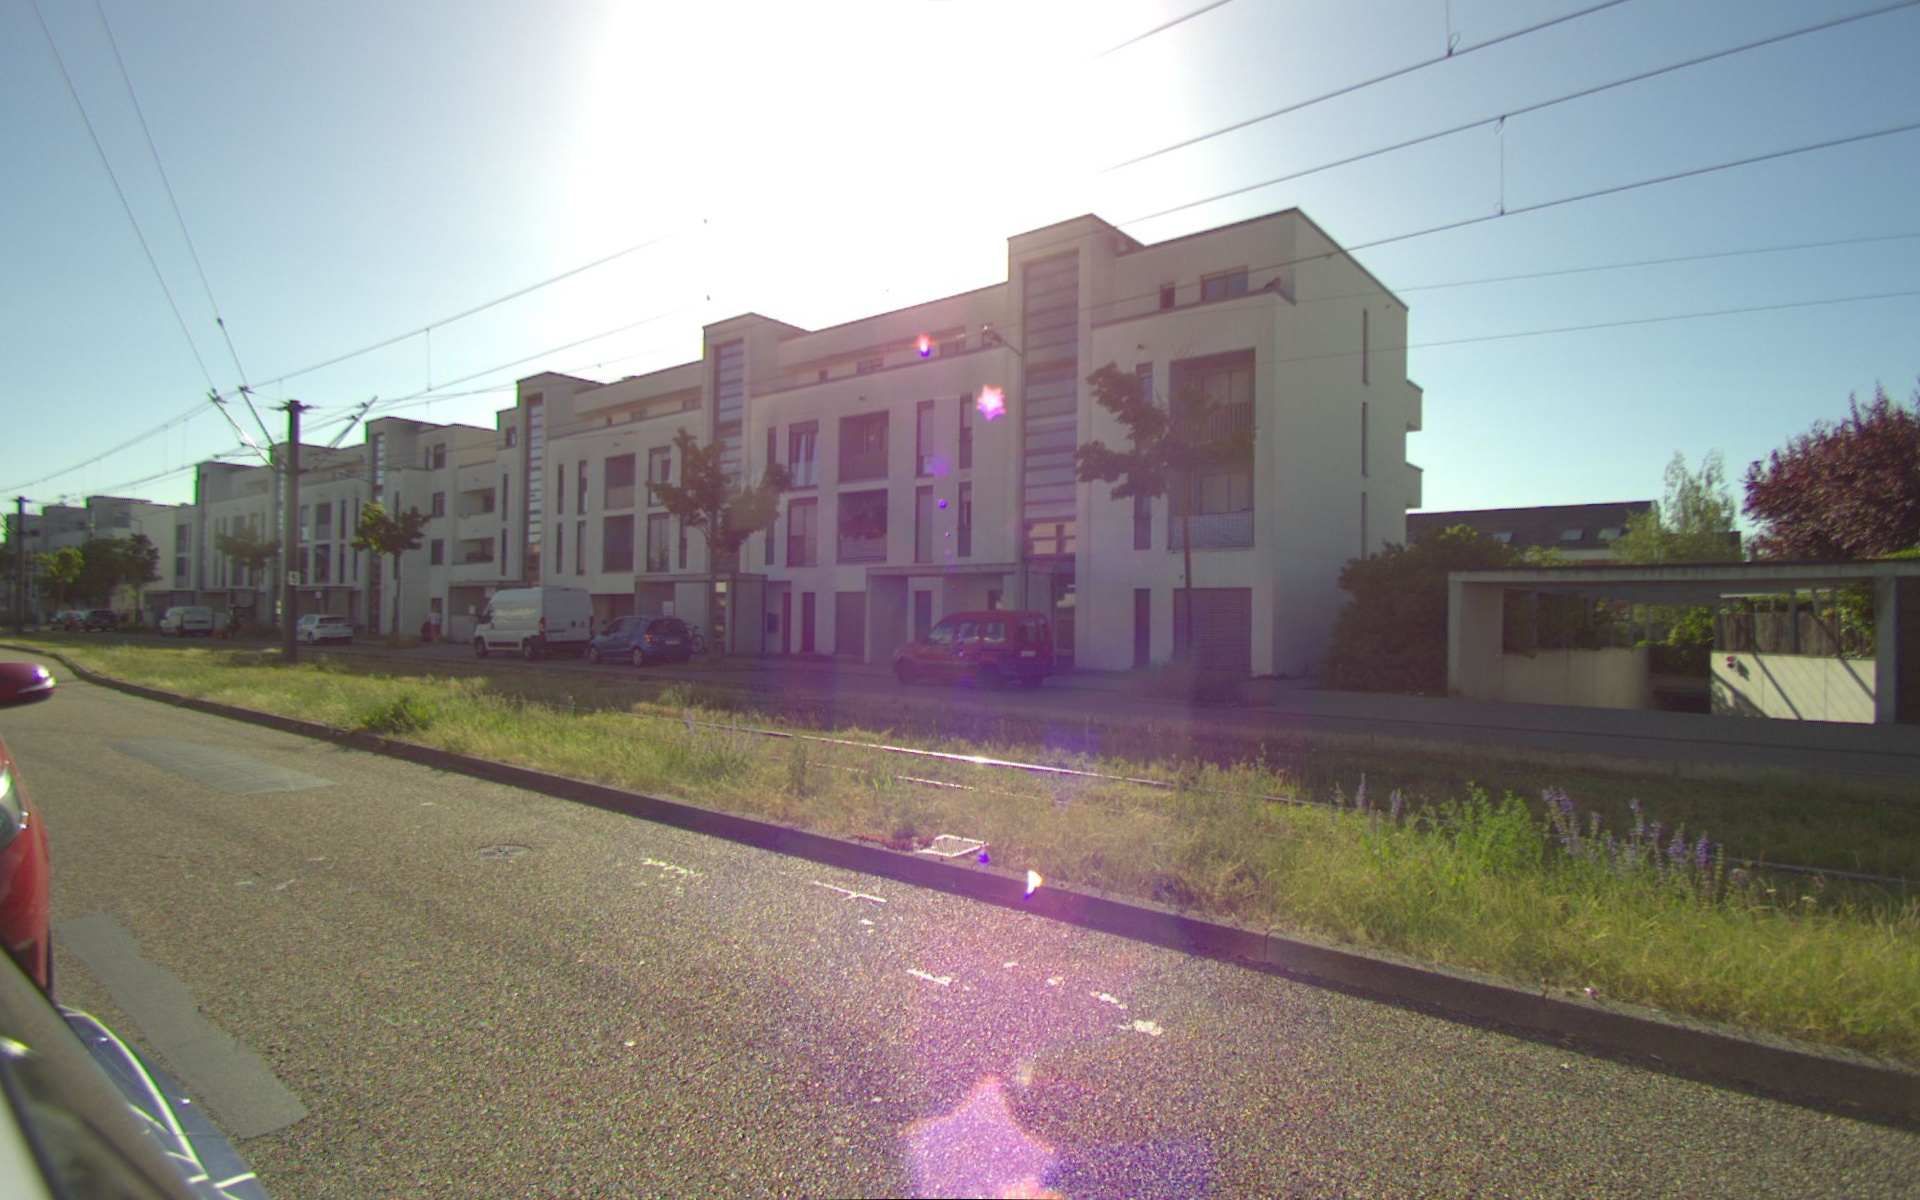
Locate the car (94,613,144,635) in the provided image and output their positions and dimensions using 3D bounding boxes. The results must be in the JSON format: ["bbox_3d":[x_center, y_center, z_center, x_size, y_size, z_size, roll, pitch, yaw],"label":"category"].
[{"bbox_3d":[-57.549,1.636,69.249,3.491,1.449,1.844,-1,0,37],"label":"car"}]

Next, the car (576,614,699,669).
[{"bbox_3d":[-10.168,1.262,31.801,3.833,1.625,1.910,-1,-2,40],"label":"car"}]

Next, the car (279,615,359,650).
[{"bbox_3d":[-31.195,1.567,49.230,4.115,1.598,2.022,0,-2,38],"label":"car"}]

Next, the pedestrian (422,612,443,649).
[{"bbox_3d":[-23.979,1.378,45.986,0.611,1.656,0.612,-1,0,34],"label":"pedestrian"}]

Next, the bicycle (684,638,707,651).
[{"bbox_3d":[-10.695,1.804,40.955,1.060,0.502,0.349,-1,-3,40],"label":"bicycle"}]

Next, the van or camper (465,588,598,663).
[{"bbox_3d":[-15.356,0.895,36.130,5.256,2.483,2.169,-1,-2,40],"label":"van or camper"}]

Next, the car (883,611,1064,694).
[{"bbox_3d":[0.262,1.154,23.109,3.907,1.736,1.770,0,-3,42],"label":"car"}]

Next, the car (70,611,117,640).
[{"bbox_3d":[-63.070,1.859,73.657,3.993,2.029,1.766,0,0,37],"label":"car"}]

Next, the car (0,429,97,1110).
[{"bbox_3d":[-5.249,0.528,3.998,5.081,1.984,2.100,-1,0,41],"label":"car"}]

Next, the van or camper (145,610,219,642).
[{"bbox_3d":[-48.103,1.566,62.497,6.280,1.862,2.244,0,-1,39],"label":"van or camper"}]
